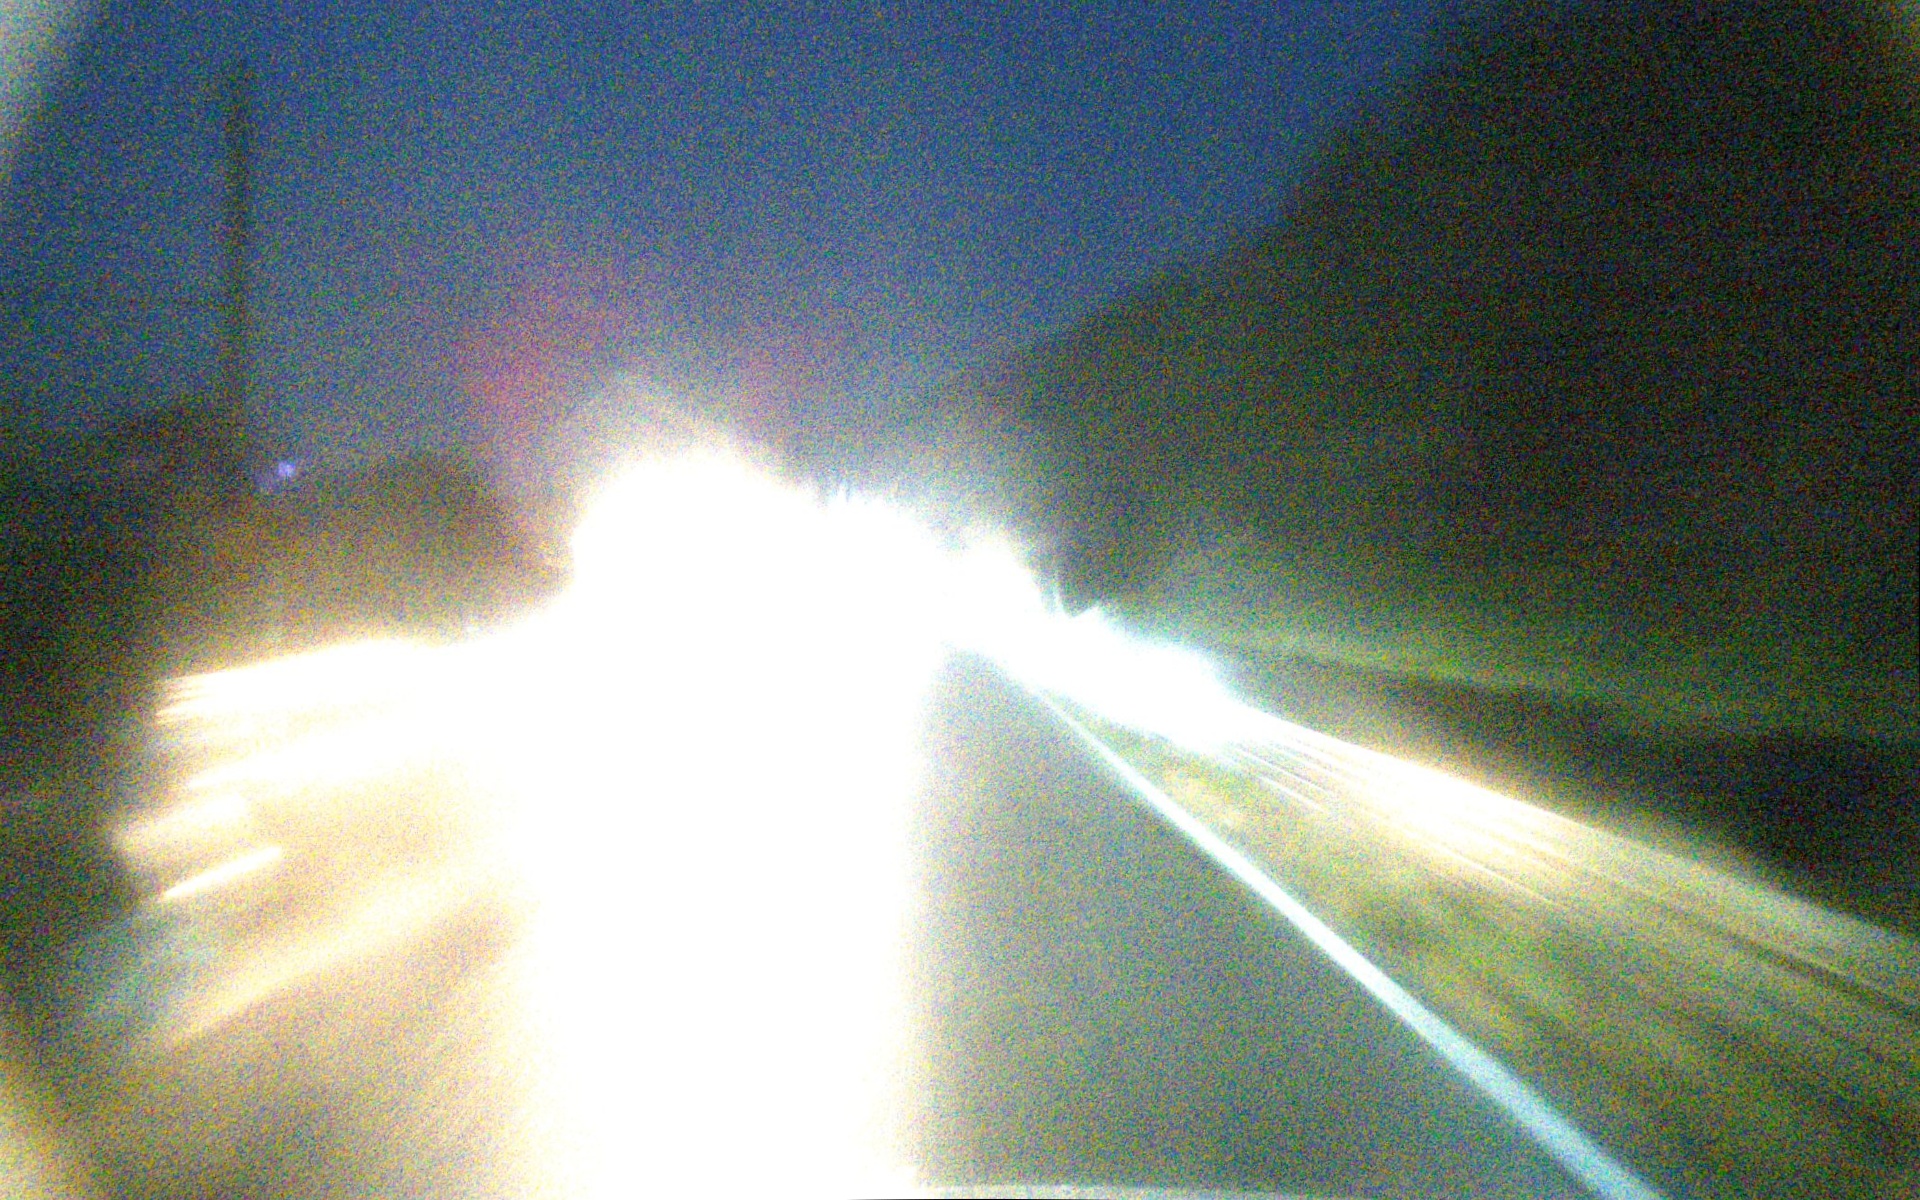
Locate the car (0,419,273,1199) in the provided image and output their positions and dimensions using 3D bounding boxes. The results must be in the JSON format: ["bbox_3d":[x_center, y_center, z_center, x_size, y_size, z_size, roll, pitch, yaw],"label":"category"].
[{"bbox_3d":[-3.208,0.504,3.446,1.795,1.903,4.427,1,0,-2],"label":"car"}]

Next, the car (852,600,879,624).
[{"bbox_3d":[-6.685,0.822,117.593,1.831,1.641,3.845,1,0,-2],"label":"car"}]

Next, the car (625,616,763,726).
[{"bbox_3d":[-3.937,1.010,24.948,1.632,1.481,3.424,1,0,-2],"label":"car"}]

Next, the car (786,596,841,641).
[{"bbox_3d":[-4.743,0.574,54.002,1.608,1.383,3.679,1,0,-2],"label":"car"}]
